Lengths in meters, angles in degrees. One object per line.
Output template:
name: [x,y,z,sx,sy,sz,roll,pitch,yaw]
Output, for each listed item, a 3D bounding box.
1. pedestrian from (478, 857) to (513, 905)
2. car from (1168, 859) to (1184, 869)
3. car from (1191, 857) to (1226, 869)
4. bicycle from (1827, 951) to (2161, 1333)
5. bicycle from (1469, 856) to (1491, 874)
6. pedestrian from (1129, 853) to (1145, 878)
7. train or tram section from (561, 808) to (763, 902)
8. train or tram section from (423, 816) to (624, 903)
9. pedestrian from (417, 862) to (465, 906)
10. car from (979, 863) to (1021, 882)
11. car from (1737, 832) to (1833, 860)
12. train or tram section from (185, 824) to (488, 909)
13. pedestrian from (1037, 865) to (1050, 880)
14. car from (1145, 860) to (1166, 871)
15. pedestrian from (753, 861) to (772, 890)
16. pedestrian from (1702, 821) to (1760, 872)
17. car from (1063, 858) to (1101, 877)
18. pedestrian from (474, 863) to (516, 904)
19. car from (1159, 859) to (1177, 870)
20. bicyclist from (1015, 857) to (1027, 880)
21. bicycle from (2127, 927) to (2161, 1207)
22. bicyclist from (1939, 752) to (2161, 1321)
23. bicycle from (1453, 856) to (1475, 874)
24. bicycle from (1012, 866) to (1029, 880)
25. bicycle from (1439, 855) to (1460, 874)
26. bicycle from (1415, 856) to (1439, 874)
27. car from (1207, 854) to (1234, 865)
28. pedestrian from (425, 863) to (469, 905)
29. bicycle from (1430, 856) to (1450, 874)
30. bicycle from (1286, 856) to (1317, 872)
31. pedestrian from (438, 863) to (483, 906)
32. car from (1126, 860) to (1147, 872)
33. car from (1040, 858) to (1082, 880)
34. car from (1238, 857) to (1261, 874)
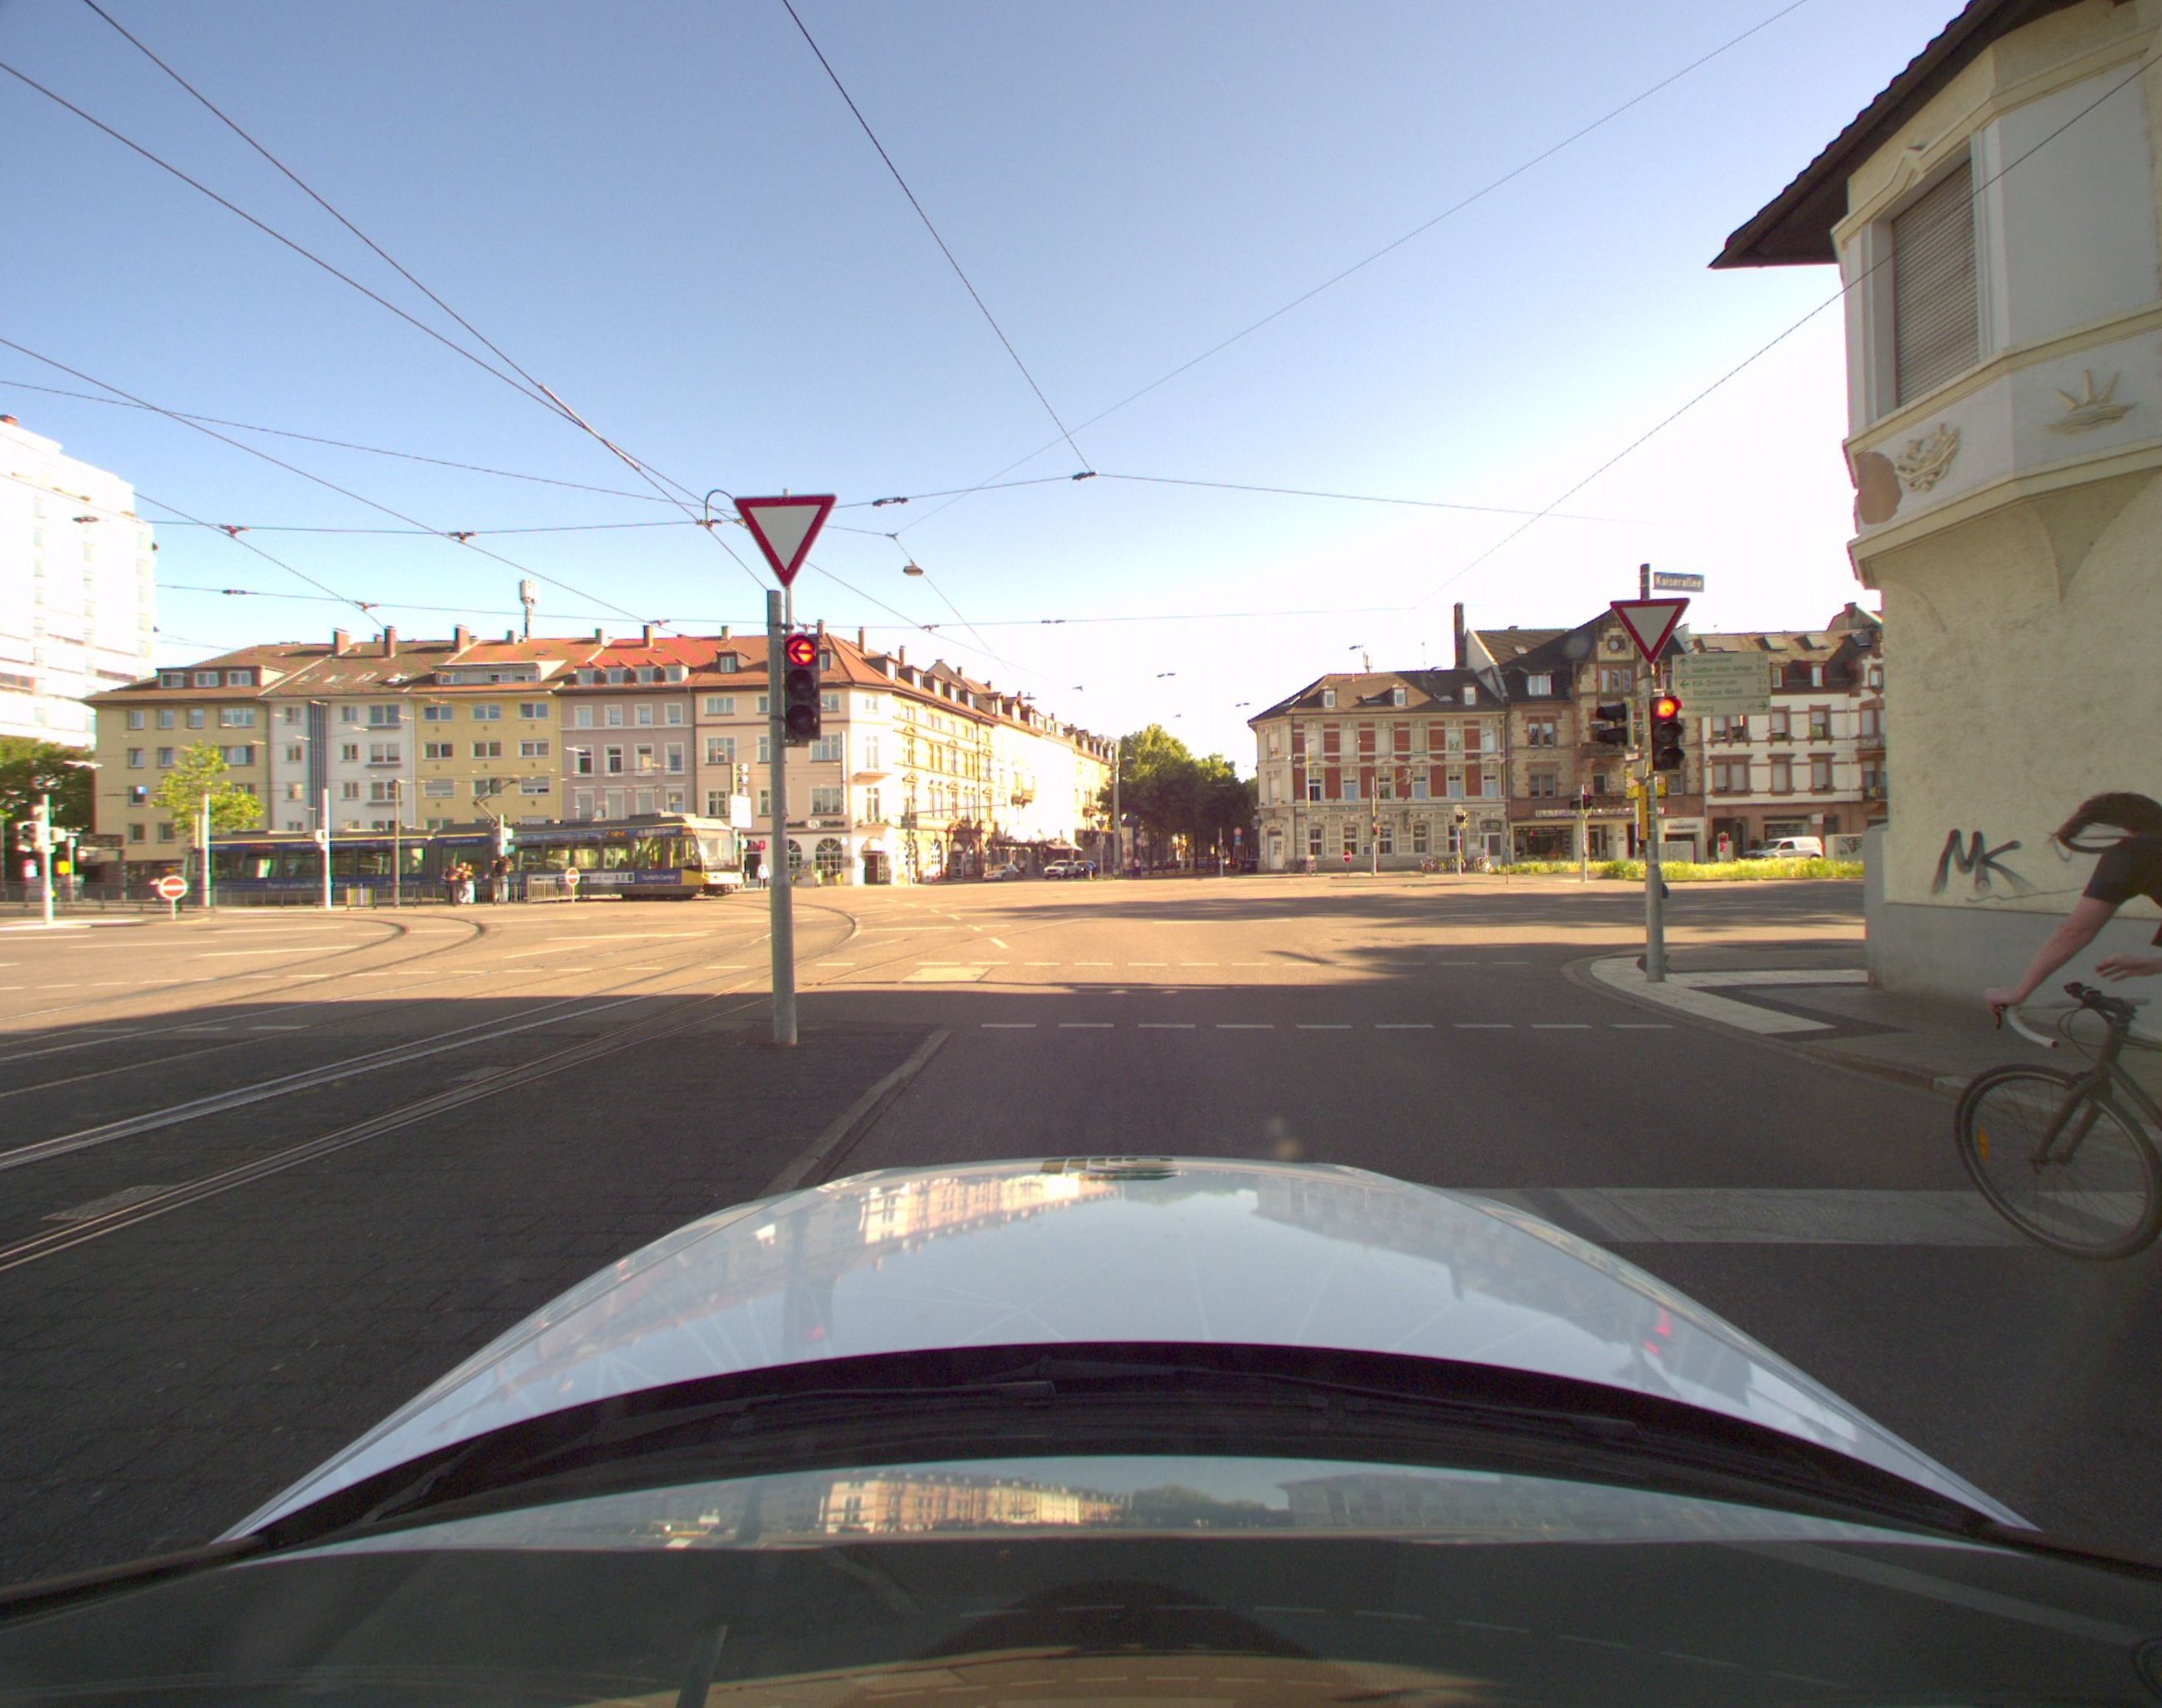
pedestrian: [-22.357,1.002,31.117,0.944,1.775,1.000,-1,0,-30]
car: [15.829,1.721,136.171,1.750,1.549,4.411,-2,0,18]
car: [18.050,1.308,115.256,4.335,1.612,2.012,-2,0,28]
bicycle: [3.618,0.947,2.674,0.642,1.010,1.930,-2,0,4]
bicycle: [25.757,0.687,52.604,0.606,1.136,2.139,-2,0,7]
pedestrian: [4.045,0.847,58.525,1.040,1.744,0.810,-1,0,8]
train or tram section: [-17.132,0.109,33.259,7.866,3.500,2.839,-1,0,22]
train or tram section: [-24.659,0.285,36.005,8.364,3.500,2.838,-1,0,19]
pedestrian: [-24.121,1.125,30.703,0.932,1.598,1.012,-2,0,11]
car: [-6.682,1.523,67.384,1.883,1.455,4.020,-2,0,20]
car: [45.360,-0.485,52.560,4.317,1.640,2.152,-2,0,1]
train or tram section: [-34.279,0.591,37.673,11.936,3.500,2.783,-1,0,4]
pedestrian: [-3.925,1.927,85.283,0.921,1.535,1.142,-2,0,16]
car: [11.254,1.732,122.604,1.977,1.612,4.413,-2,0,20]
pedestrian: [-20.393,1.376,52.137,1.008,1.775,0.937,-1,0,-15]
pedestrian: [27.116,-0.310,34.004,1.314,2.044,1.307,-2,0,1]
car: [0.118,1.218,74.019,1.977,1.612,4.413,-2,0,20]
pedestrian: [-23.237,1.167,32.307,0.997,1.598,0.946,-2,0,23]
car: [13.912,1.701,130.336,1.822,1.552,4.412,-2,0,19]
bicyclist: [-4.811,1.132,65.342,0.674,1.820,1.075,-2,0,14]
bicycle: [4.538,0.856,2.449,0.516,1.116,1.815,-2,0,4]
bicyclist: [3.603,0.559,2.597,0.559,1.754,1.102,-2,0,4]
bicycle: [24.780,0.708,52.694,0.615,1.143,2.178,-2,0,7]
bicycle: [-4.815,1.513,65.298,0.675,1.066,2.133,-2,0,14]
bicycle: [23.859,0.670,52.789,0.615,1.143,2.178,-2,0,7]
bicycle: [22.502,0.699,52.991,0.802,1.143,2.178,-2,0,7]
car: [22.830,0.970,133.307,3.948,1.706,2.013,-2,0,32]
pedestrian: [-25.301,1.184,32.517,0.998,1.598,0.946,-2,0,18]
bicycle: [23.280,0.689,52.842,0.615,1.143,2.178,-2,0,7]
bicycle: [15.501,0.722,57.193,2.081,1.124,0.366,0,-1,-3]
pedestrian: [-24.140,1.166,31.702,0.934,1.598,1.011,-2,0,4]
car: [7.533,1.669,110.984,1.978,1.486,4.017,-1,0,16]
car: [-1.606,1.252,67.541,1.977,1.684,4.413,-2,0,20]
car: [17.016,1.139,82.220,1.978,1.585,4.017,-2,0,16]
